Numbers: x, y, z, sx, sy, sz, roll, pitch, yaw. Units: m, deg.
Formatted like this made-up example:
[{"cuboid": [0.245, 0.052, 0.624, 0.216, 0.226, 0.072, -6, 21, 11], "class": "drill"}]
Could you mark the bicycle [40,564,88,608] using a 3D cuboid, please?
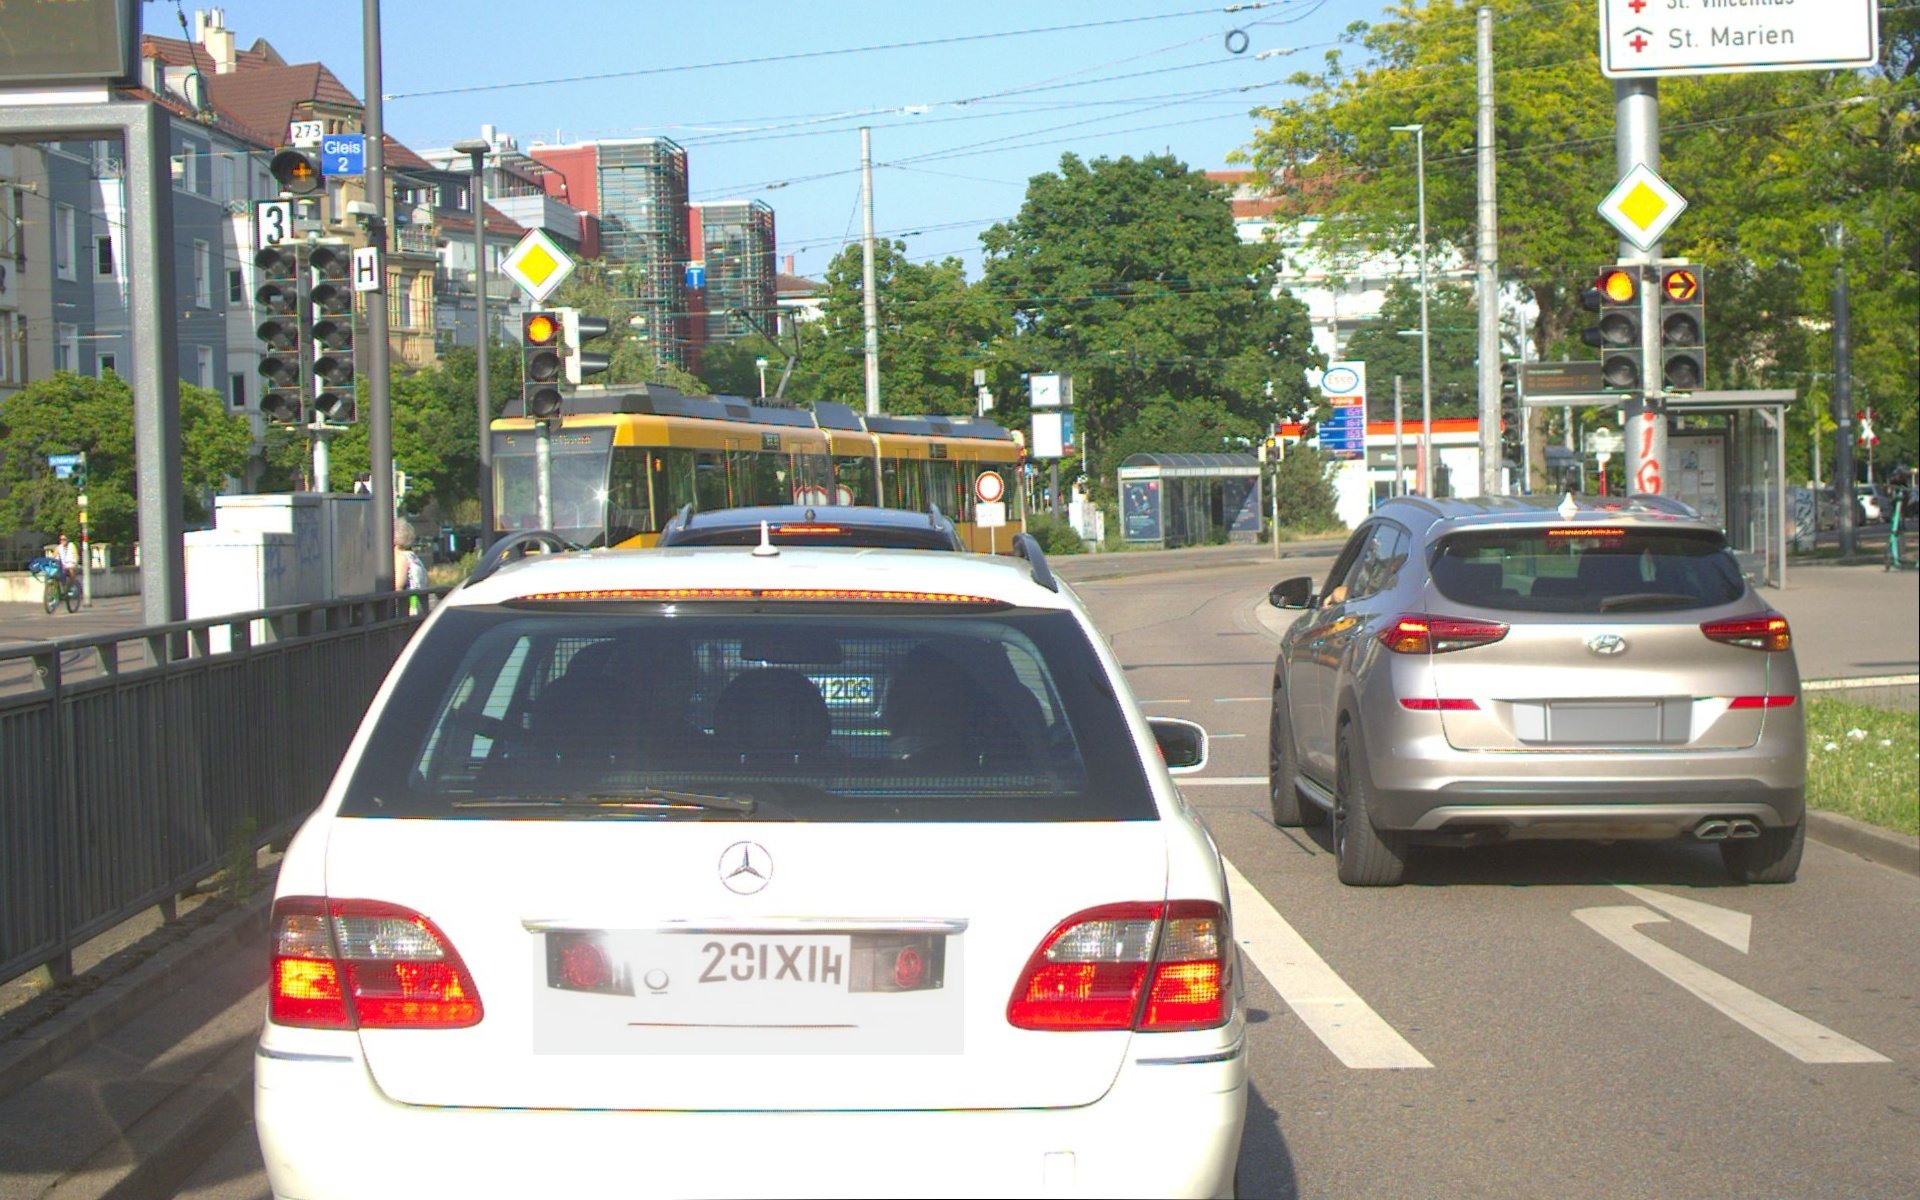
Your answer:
[{"cuboid": [-17.952, -0.292, 68.914, 0.526, 0.831, 1.686, -2, 1, -1], "class": "bicycle"}]

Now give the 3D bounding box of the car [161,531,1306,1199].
[{"cuboid": [-0.389, 0.594, 7.233, 1.796, 1.465, 3.648, 0, 1, -1], "class": "car"}]

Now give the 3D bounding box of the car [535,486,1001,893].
[{"cuboid": [-0.819, 0.324, 15.861, 1.885, 1.645, 3.648, 1, 1, -1], "class": "car"}]

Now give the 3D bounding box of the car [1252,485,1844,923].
[{"cuboid": [2.446, 0.361, 15.195, 1.885, 1.645, 3.648, -2, 1, -1], "class": "car"}]

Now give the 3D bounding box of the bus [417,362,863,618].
[{"cuboid": [-4.731, -1.631, 54.715, 3.110, 3.593, 12.367, 1, 1, 14], "class": "bus"}]

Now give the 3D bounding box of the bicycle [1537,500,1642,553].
[{"cuboid": [15.483, -1.807, 84.589, 2.483, 1.209, 0.806, -1, 1, 7], "class": "bicycle"}]

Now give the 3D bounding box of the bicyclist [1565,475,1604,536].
[{"cuboid": [15.355, -2.326, 84.546, 0.861, 1.476, 0.789, -2, 1, 7], "class": "bicyclist"}]

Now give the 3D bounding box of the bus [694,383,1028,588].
[{"cuboid": [-1.645, -2.098, 66.825, 3.111, 3.593, 12.583, 1, 1, 14], "class": "bus"}]

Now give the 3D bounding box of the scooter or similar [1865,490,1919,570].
[{"cuboid": [13.457, -0.998, 48.893, 0.419, 1.113, 1.330, -2, 1, -21], "class": "scooter or similar"}]

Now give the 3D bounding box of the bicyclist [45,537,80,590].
[{"cuboid": [-17.961, -0.737, 68.791, 0.512, 1.041, 0.679, -2, 1, -1], "class": "bicyclist"}]

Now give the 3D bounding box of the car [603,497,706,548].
[{"cuboid": [-12.227, -3.089, 137.565, 3.986, 2.007, 2.000, 1, 1, -2], "class": "car"}]
